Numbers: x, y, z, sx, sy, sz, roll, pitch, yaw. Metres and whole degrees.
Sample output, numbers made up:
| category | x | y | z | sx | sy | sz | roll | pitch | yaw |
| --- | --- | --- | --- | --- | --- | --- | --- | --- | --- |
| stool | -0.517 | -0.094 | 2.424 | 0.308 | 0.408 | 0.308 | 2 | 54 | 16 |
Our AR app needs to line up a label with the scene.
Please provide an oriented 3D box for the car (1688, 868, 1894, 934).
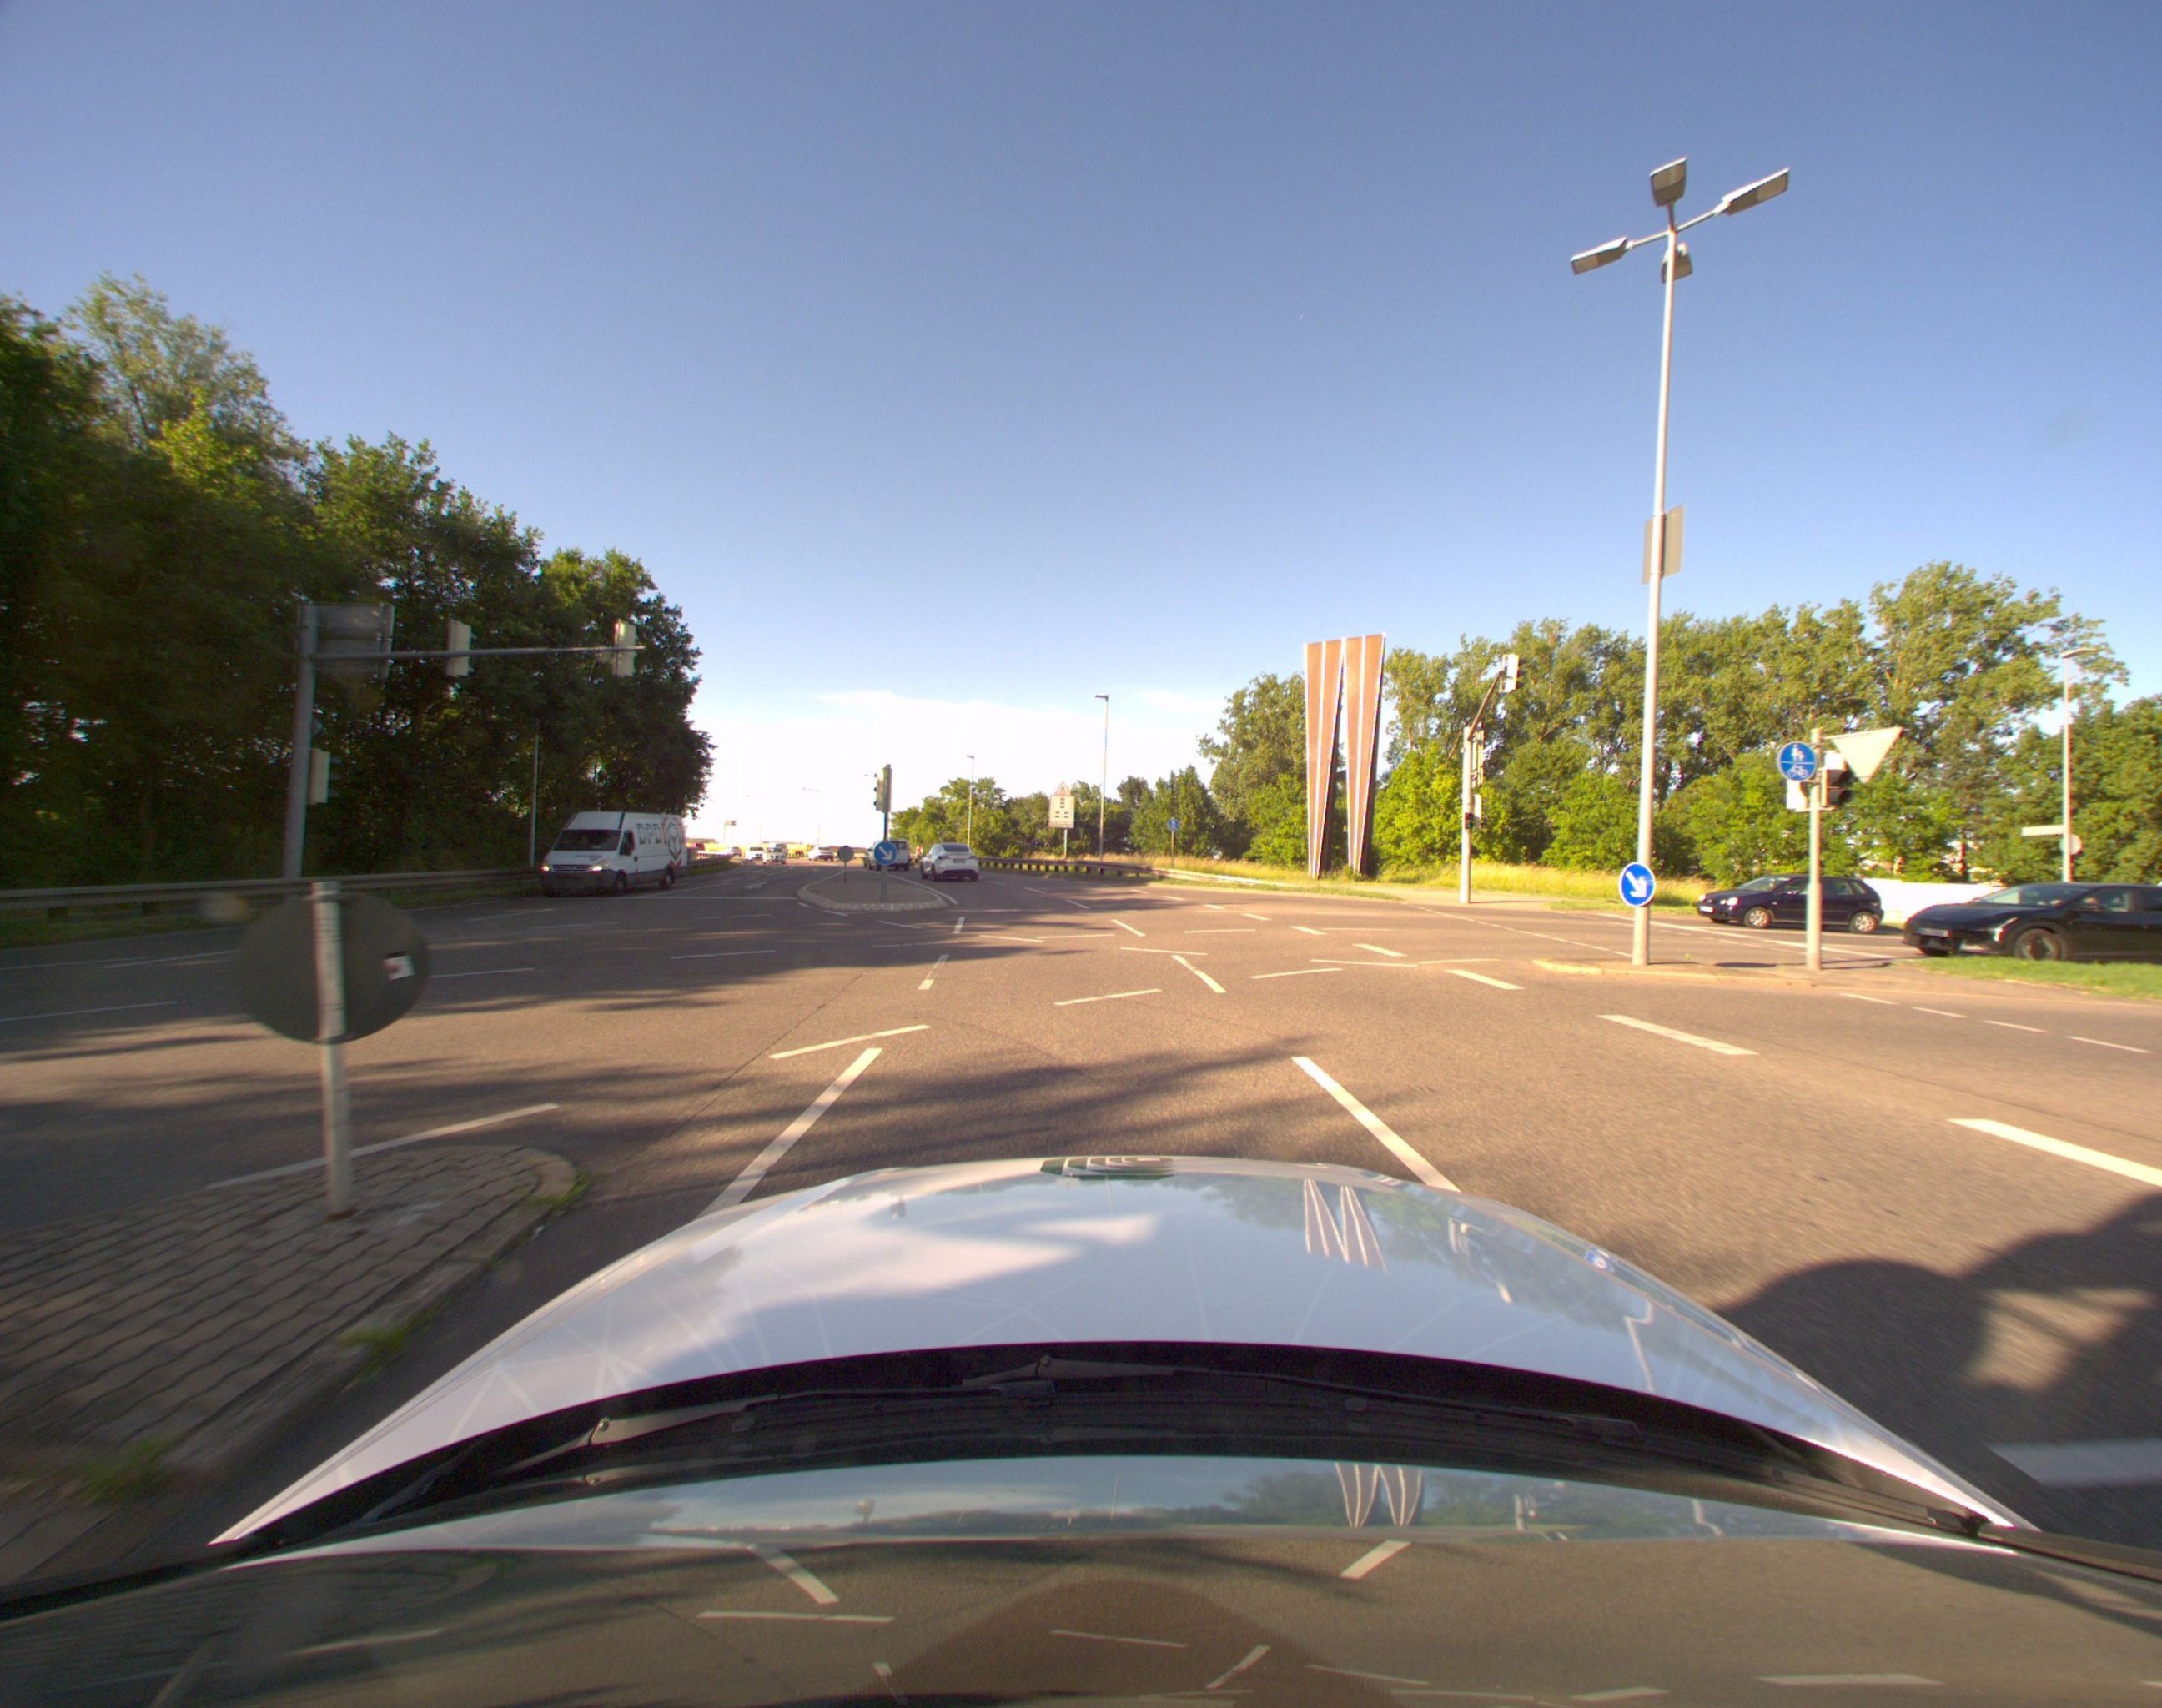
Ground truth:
| category | x | y | z | sx | sy | sz | roll | pitch | yaw |
| --- | --- | --- | --- | --- | --- | --- | --- | --- | --- |
| car | 18.552 | 1.187 | 21.440 | 3.725 | 1.403 | 1.698 | 3 | 2 | 7 |

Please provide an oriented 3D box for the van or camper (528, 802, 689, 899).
| category | x | y | z | sx | sy | sz | roll | pitch | yaw |
| --- | --- | --- | --- | --- | --- | --- | --- | --- | --- |
| van or camper | -14.812 | -0.110 | 26.153 | 2.048 | 2.673 | 6.913 | 0 | 0 | -9 |

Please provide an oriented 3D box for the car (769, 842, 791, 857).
| category | x | y | z | sx | sy | sz | roll | pitch | yaw |
| --- | --- | --- | --- | --- | --- | --- | --- | --- | --- |
| car | -36.545 | -0.573 | 98.919 | 1.980 | 1.698 | 3.965 | 1 | 0 | -27 |

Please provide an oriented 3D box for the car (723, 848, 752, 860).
| category | x | y | z | sx | sy | sz | roll | pitch | yaw |
| --- | --- | --- | --- | --- | --- | --- | --- | --- | --- |
| car | -47.161 | 0.008 | 111.761 | 2.286 | 1.508 | 3.951 | 3 | -1 | -44 |

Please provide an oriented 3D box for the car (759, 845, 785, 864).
| category | x | y | z | sx | sy | sz | roll | pitch | yaw |
| --- | --- | --- | --- | --- | --- | --- | --- | --- | --- |
| car | -25.281 | 0.014 | 66.598 | 1.877 | 1.474 | 3.880 | 1 | 0 | -23 |

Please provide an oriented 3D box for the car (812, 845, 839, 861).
| category | x | y | z | sx | sy | sz | roll | pitch | yaw |
| --- | --- | --- | --- | --- | --- | --- | --- | --- | --- |
| car | -25.612 | -0.086 | 81.536 | 1.979 | 1.474 | 4.119 | 1 | 0 | -27 |

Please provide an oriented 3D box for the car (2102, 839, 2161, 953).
| category | x | y | z | sx | sy | sz | roll | pitch | yaw |
| --- | --- | --- | --- | --- | --- | --- | --- | --- | --- |
| car | 25.437 | 1.030 | 16.954 | 5.242 | 2.409 | 2.112 | 3 | 0 | 6 |

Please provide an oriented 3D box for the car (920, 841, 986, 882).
| category | x | y | z | sx | sy | sz | roll | pitch | yaw |
| --- | --- | --- | --- | --- | --- | --- | --- | --- | --- |
| car | -5.679 | 0.313 | 35.721 | 2.001 | 1.640 | 4.099 | 1 | 0 | -21 |

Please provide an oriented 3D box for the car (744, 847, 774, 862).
| category | x | y | z | sx | sy | sz | roll | pitch | yaw |
| --- | --- | --- | --- | --- | --- | --- | --- | --- | --- |
| car | -32.091 | 0.016 | 81.127 | 2.110 | 1.390 | 4.367 | 1 | 0 | -31 |

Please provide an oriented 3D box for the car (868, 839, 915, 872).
| category | x | y | z | sx | sy | sz | roll | pitch | yaw |
| --- | --- | --- | --- | --- | --- | --- | --- | --- | --- |
| car | -11.600 | 0.065 | 49.717 | 2.002 | 1.879 | 4.215 | 1 | 0 | -24 |

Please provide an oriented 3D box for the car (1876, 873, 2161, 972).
| category | x | y | z | sx | sy | sz | roll | pitch | yaw |
| --- | --- | --- | --- | --- | --- | --- | --- | --- | --- |
| car | 17.295 | 1.180 | 14.342 | 4.435 | 1.464 | 2.003 | 2 | 0 | 6 |
